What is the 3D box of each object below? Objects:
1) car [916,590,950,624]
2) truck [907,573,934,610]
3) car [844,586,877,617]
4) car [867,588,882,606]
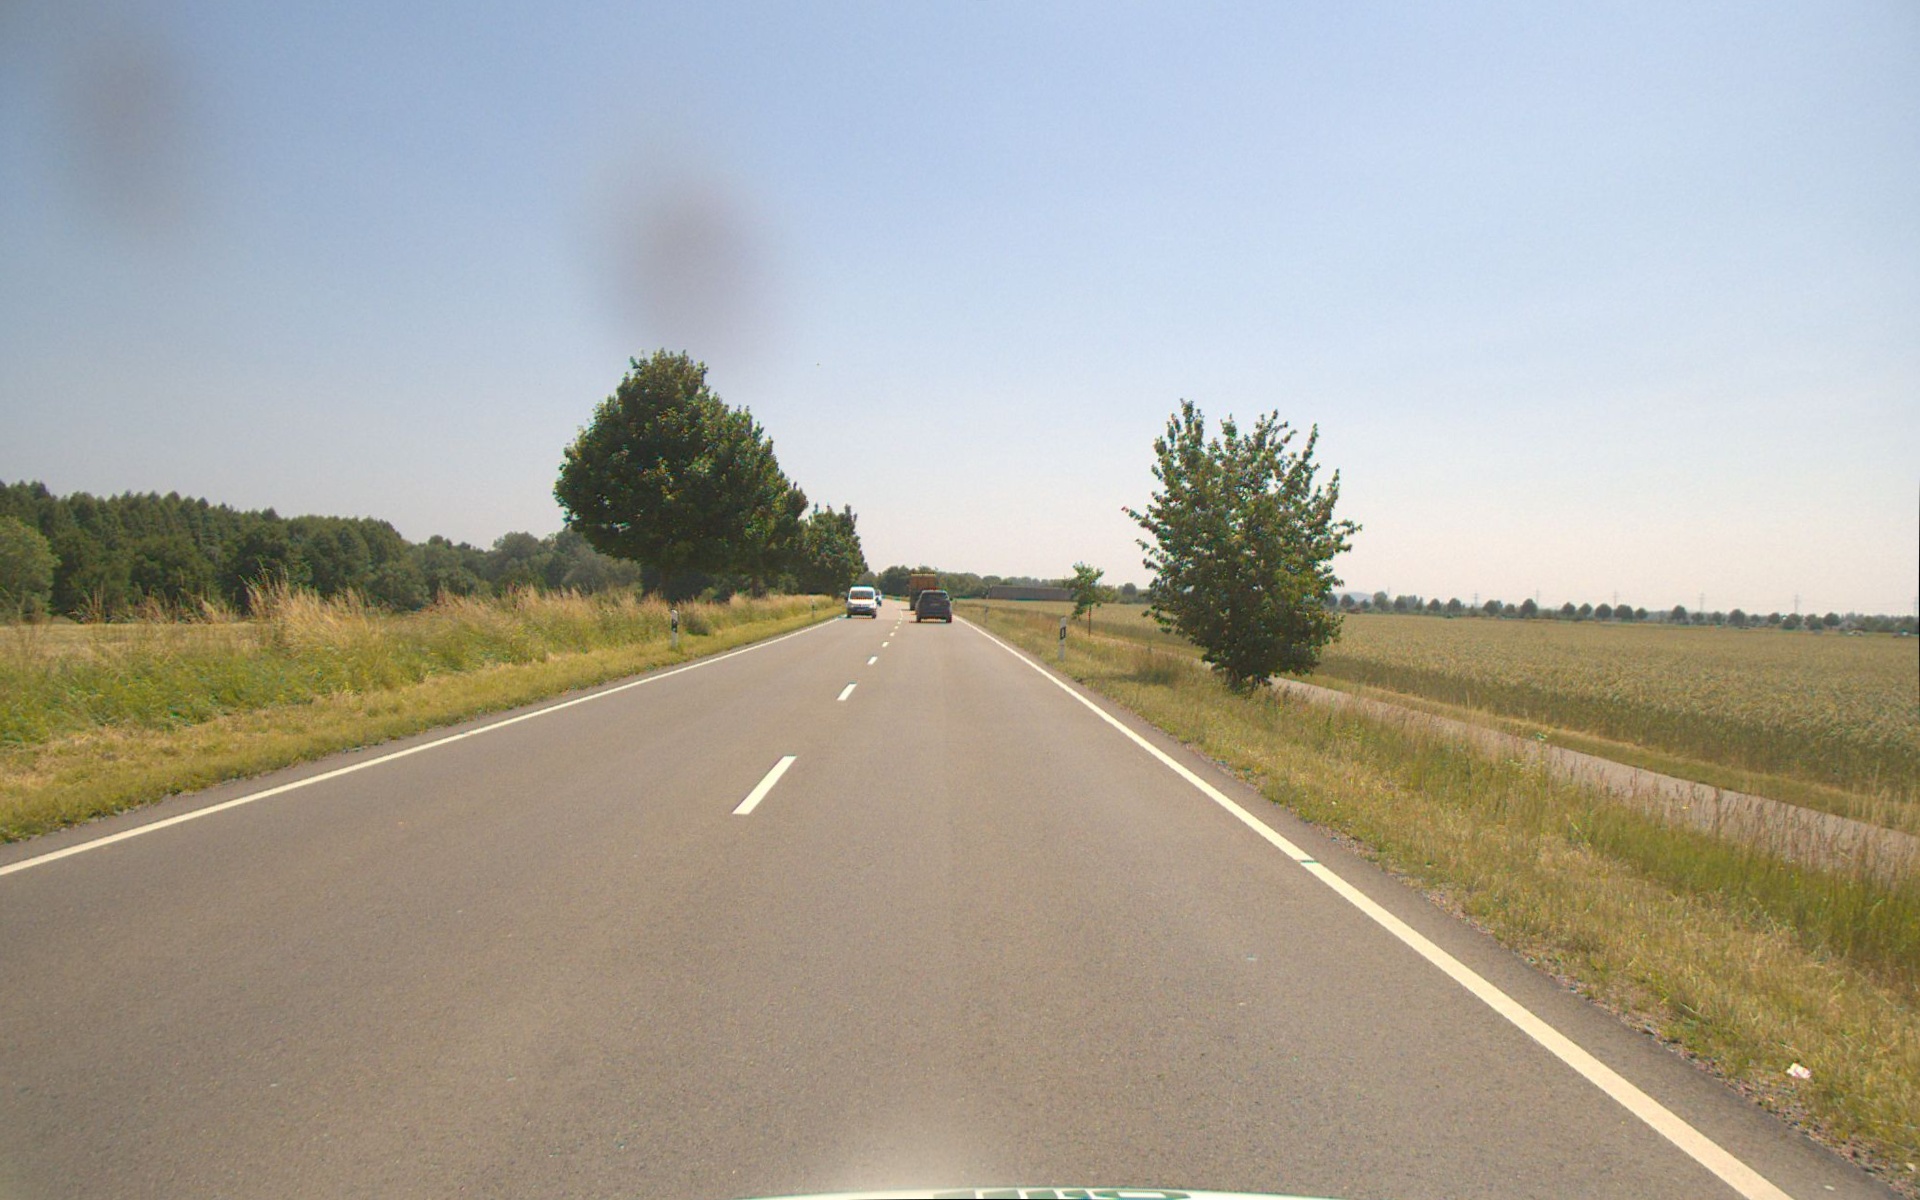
[{"bbox_3d":[-1.401,0.379,87.140,1.679,1.723,3.988,1,0,0],"label":"car"},{"bbox_3d":[-3.549,-0.722,147.526,2.323,3.195,8.744,1,0,-2],"label":"truck"},{"bbox_3d":[-5.926,0.103,98.658,1.750,1.759,4.303,1,0,-1],"label":"car"},{"bbox_3d":[-9.500,-0.321,183.890,1.691,1.872,3.998,1,0,-3],"label":"car"}]
